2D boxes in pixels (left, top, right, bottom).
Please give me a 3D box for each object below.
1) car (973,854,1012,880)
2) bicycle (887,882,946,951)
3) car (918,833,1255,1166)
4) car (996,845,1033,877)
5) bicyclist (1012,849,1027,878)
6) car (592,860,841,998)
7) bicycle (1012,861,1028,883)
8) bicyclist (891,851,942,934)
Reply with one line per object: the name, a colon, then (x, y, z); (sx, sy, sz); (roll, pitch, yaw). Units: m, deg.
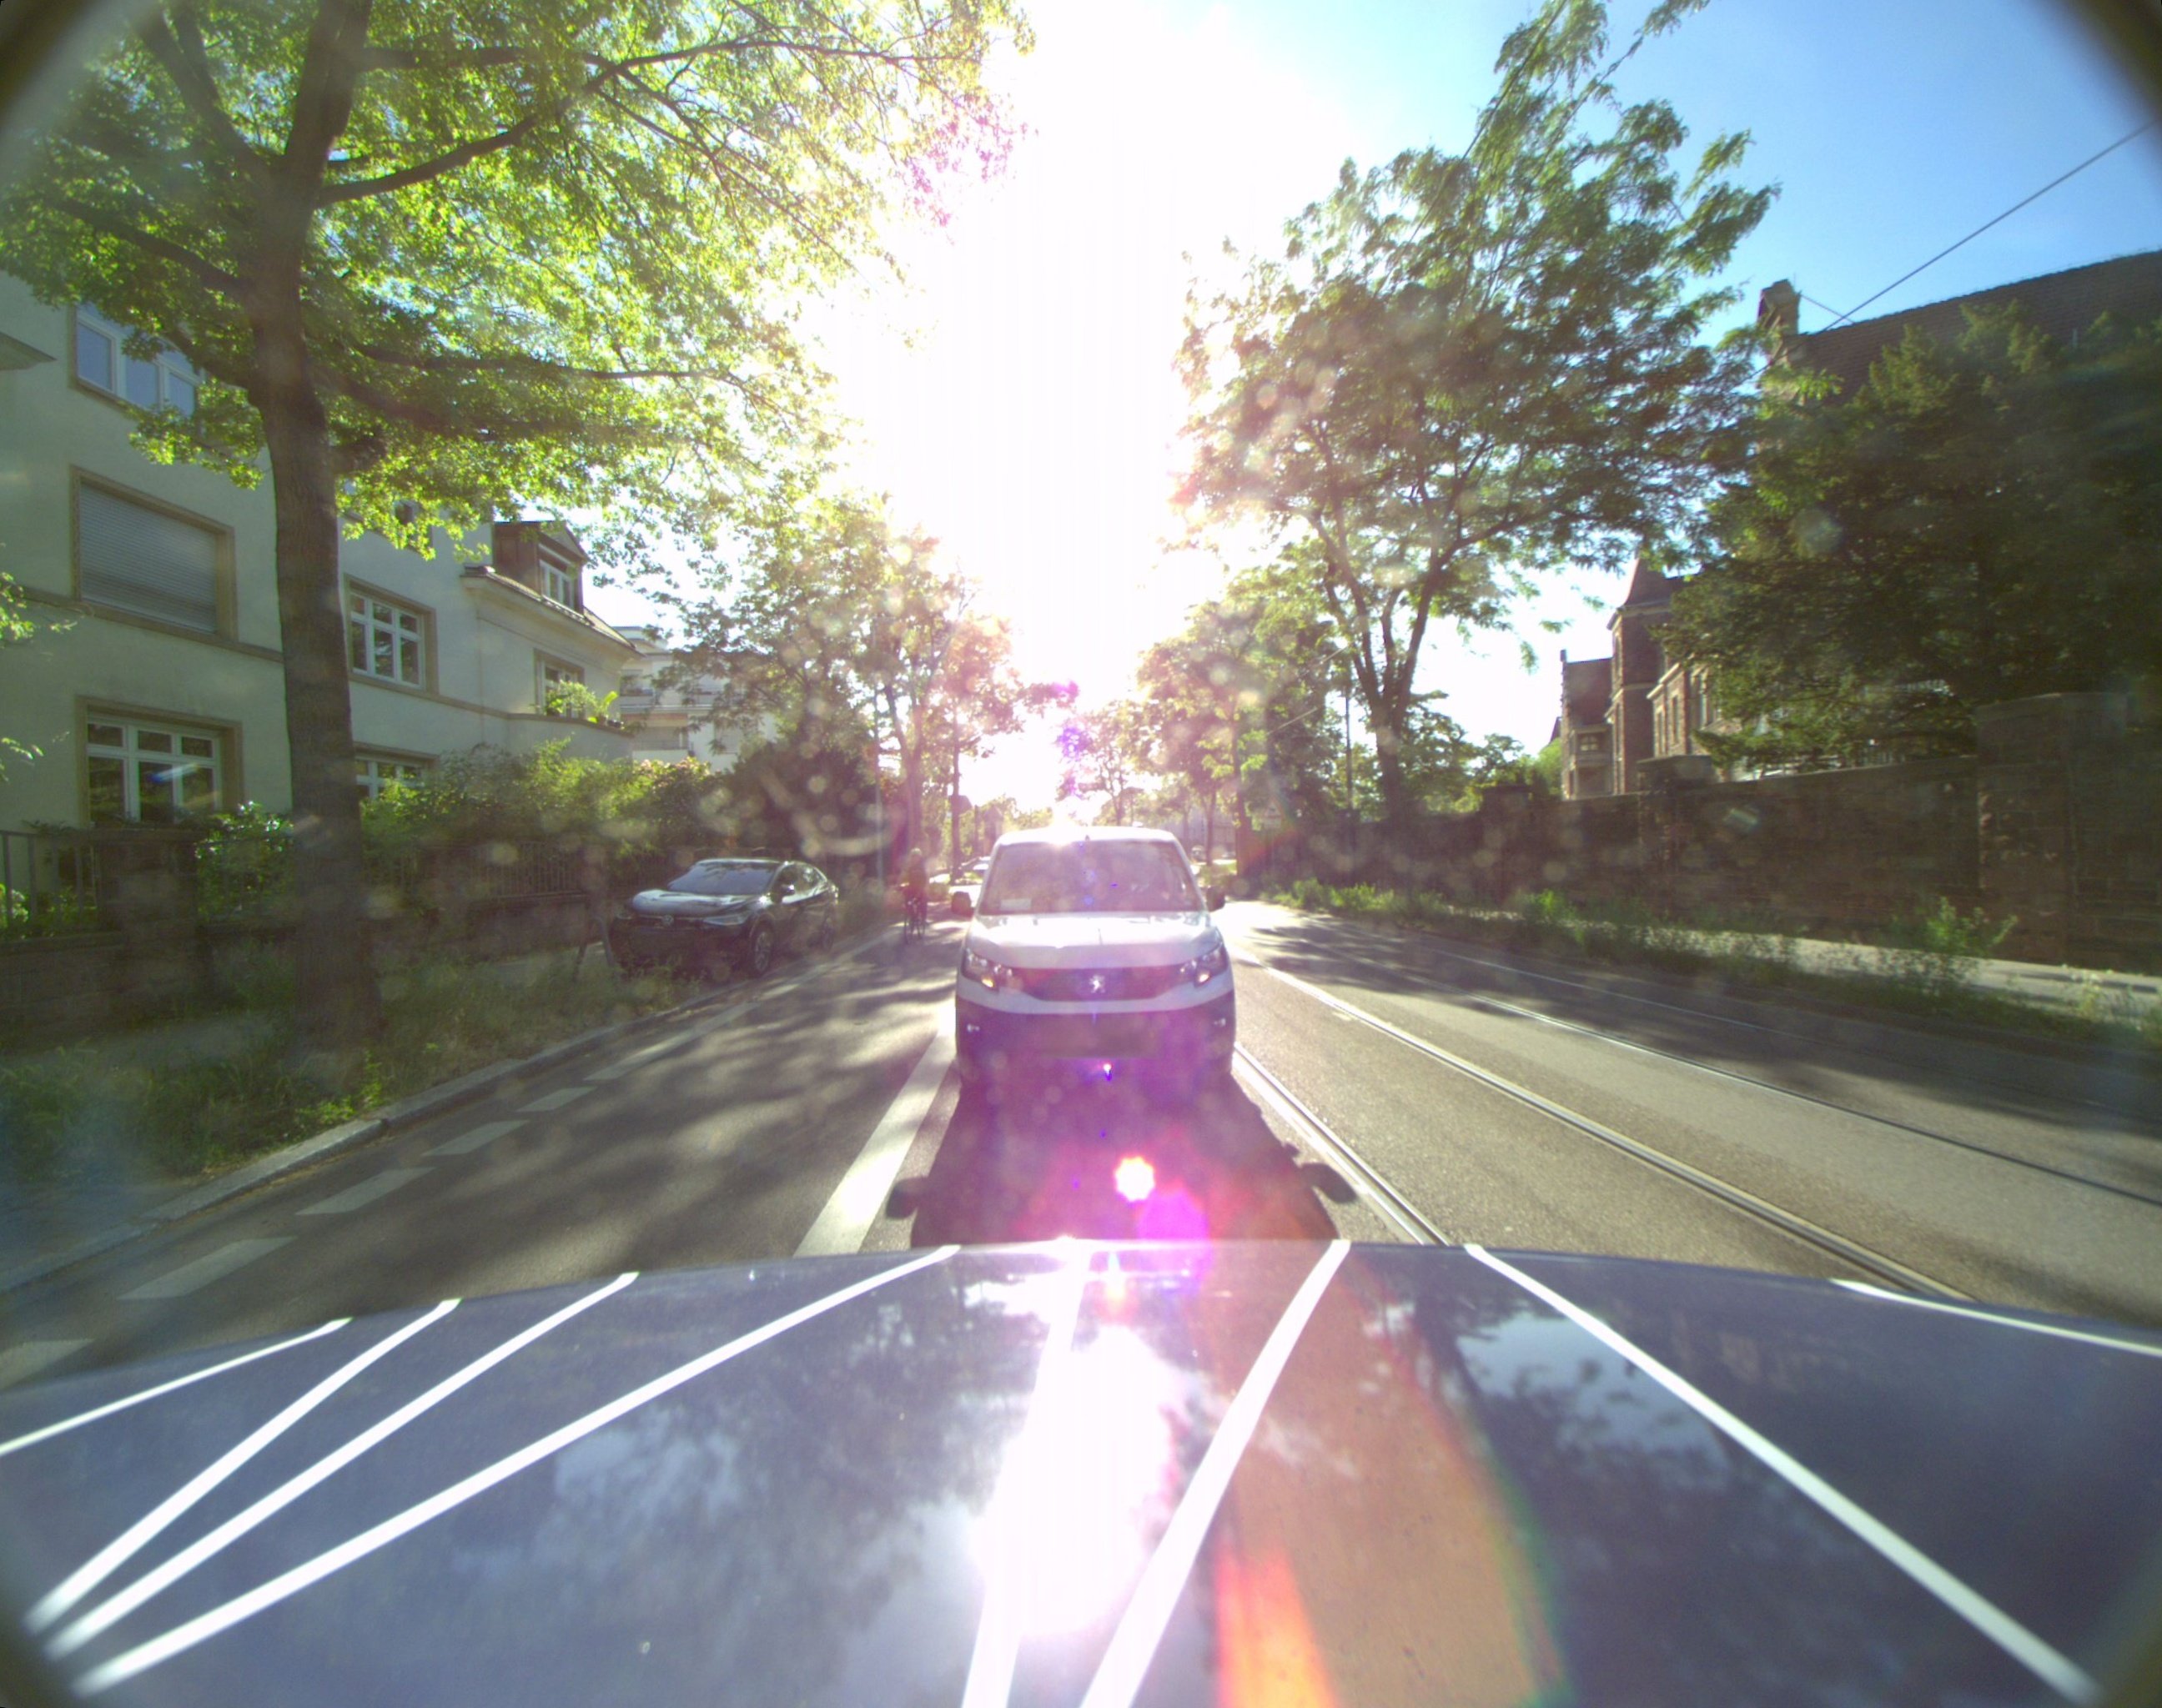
car: (-5.254, 0.759, 45.460); (1.787, 1.443, 4.000); (-2, 0, 1)
bicycle: (-3.103, 1.155, 14.490); (0.644, 1.137, 1.902); (-2, 0, 1)
car: (0.049, 0.788, 6.532); (1.793, 1.770, 4.786); (-2, 0, 0)
car: (-4.503, 0.437, 51.925); (1.998, 2.002, 4.583); (-2, 0, 1)
bicyclist: (-3.231, 0.498, 40.068); (0.623, 1.479, 1.115); (-2, 1, 1)
car: (-5.157, 0.949, 11.455); (1.743, 1.597, 4.091); (2, 0, 0)
bicycle: (-3.225, 0.941, 40.061); (0.644, 1.137, 1.815); (-2, 0, 1)
bicyclist: (-3.118, 0.705, 14.491); (0.645, 1.479, 1.115); (-2, 1, 1)
